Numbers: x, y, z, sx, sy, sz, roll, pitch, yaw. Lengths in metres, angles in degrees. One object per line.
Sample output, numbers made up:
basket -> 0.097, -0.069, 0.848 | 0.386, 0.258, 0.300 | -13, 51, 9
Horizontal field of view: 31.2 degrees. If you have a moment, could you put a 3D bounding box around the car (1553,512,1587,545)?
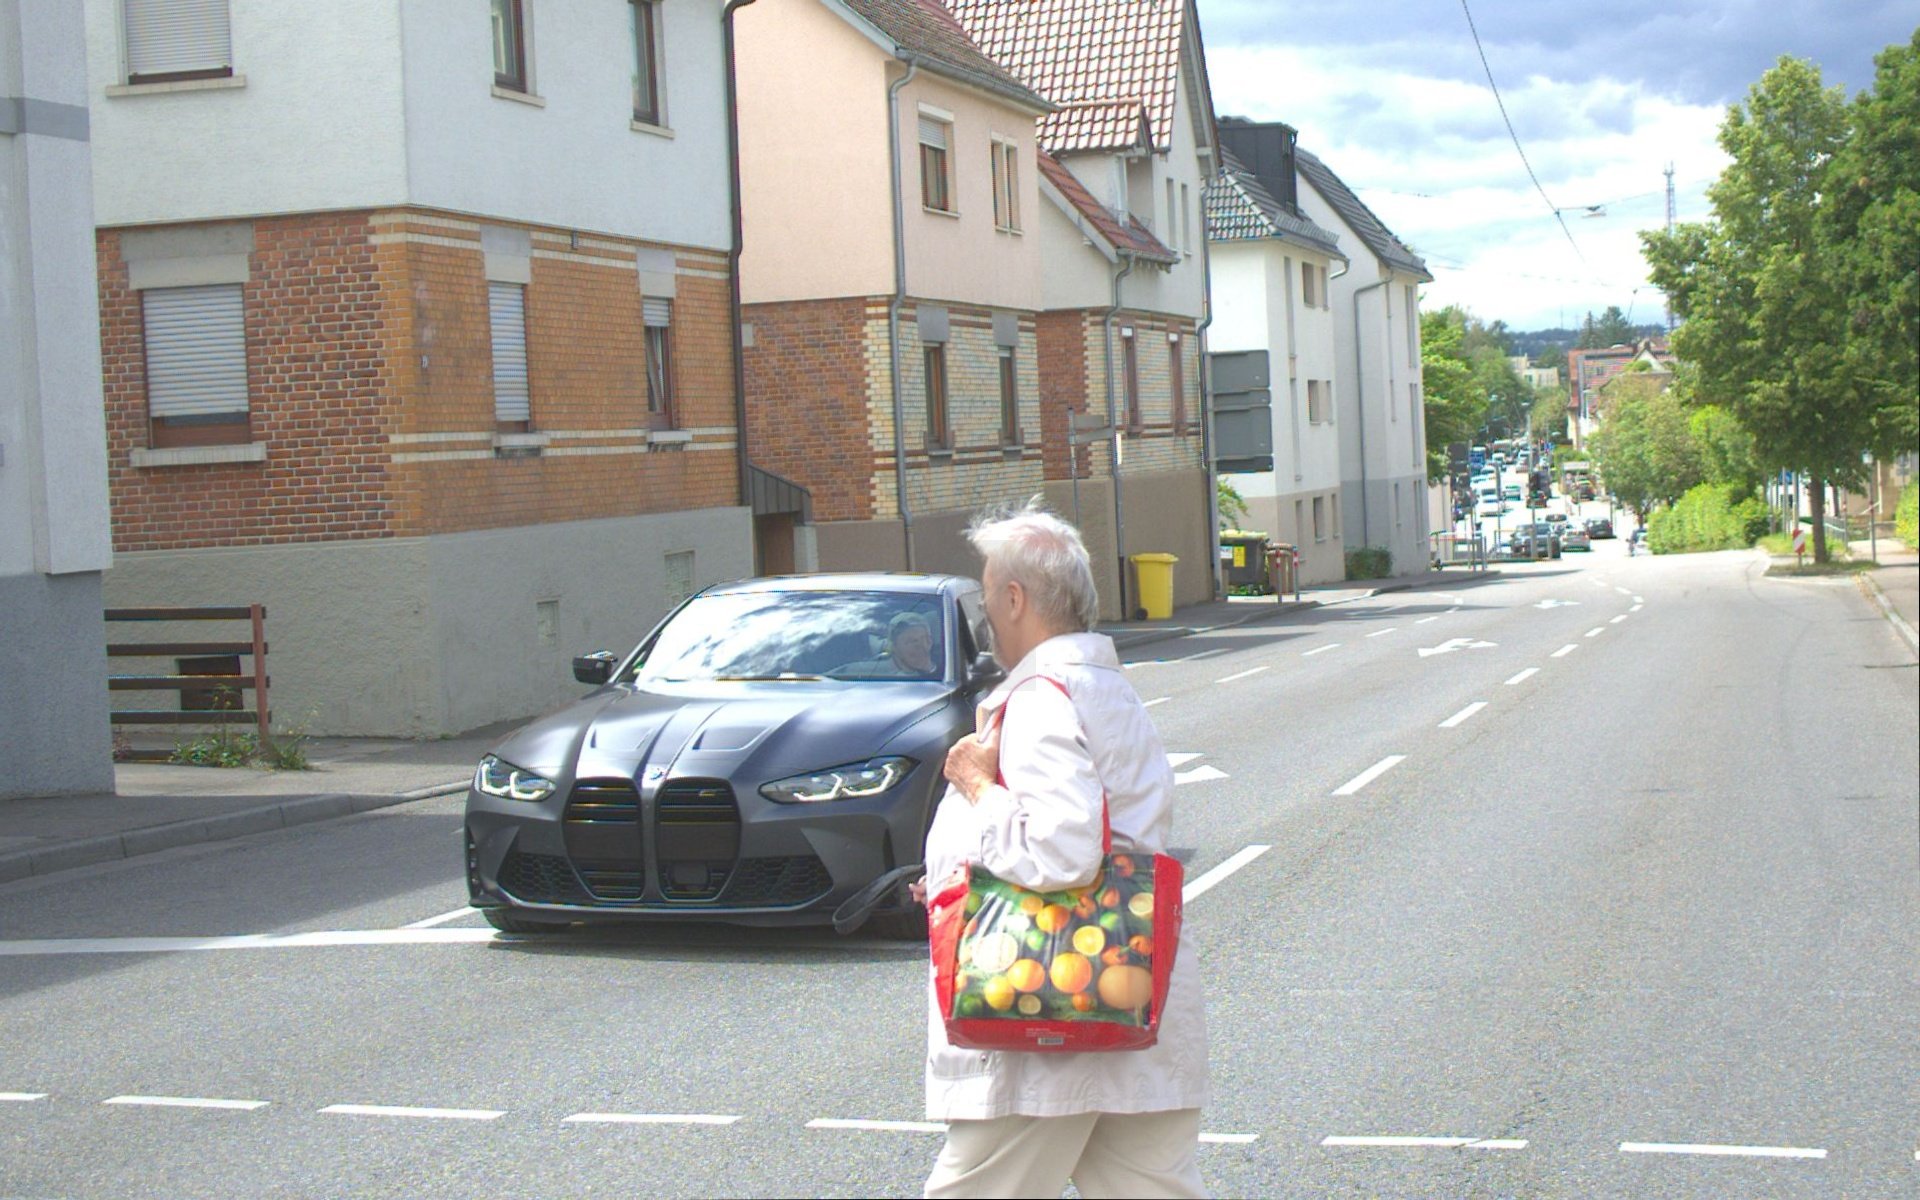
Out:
car -> 39.448, -4.595, 222.286 | 1.994, 2.007, 3.999 | -3, 0, 9

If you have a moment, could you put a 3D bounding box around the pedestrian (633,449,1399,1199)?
pedestrian -> 0.115, 0.603, 5.265 | 0.872, 1.632, 0.835 | -1, 1, 25

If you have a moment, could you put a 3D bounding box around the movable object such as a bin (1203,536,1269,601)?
movable object such as a bin -> 5.805, -0.668, 72.268 | 1.281, 1.305, 0.816 | -2, 1, 8

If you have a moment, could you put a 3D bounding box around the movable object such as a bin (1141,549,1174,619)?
movable object such as a bin -> 3.240, -0.266, 56.307 | 0.431, 1.124, 0.299 | -3, 1, 12

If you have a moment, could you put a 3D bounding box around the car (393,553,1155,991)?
car -> -0.577, 0.614, 14.827 | 1.995, 1.452, 4.615 | -3, 1, 13

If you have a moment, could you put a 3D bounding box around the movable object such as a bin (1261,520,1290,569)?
movable object such as a bin -> 6.752, -1.195, 73.496 | 0.532, 1.026, 0.455 | -2, 1, 12

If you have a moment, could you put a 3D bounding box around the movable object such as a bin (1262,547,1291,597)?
movable object such as a bin -> 6.735, -0.594, 73.135 | 0.532, 1.026, 0.455 | -2, 1, 12

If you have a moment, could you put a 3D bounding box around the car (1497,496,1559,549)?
car -> 22.560, -3.093, 136.658 | 1.994, 2.007, 4.000 | -2, 1, 5

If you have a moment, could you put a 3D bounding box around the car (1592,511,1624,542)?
car -> 44.676, -5.057, 237.005 | 1.994, 2.007, 3.999 | -3, 0, 9
